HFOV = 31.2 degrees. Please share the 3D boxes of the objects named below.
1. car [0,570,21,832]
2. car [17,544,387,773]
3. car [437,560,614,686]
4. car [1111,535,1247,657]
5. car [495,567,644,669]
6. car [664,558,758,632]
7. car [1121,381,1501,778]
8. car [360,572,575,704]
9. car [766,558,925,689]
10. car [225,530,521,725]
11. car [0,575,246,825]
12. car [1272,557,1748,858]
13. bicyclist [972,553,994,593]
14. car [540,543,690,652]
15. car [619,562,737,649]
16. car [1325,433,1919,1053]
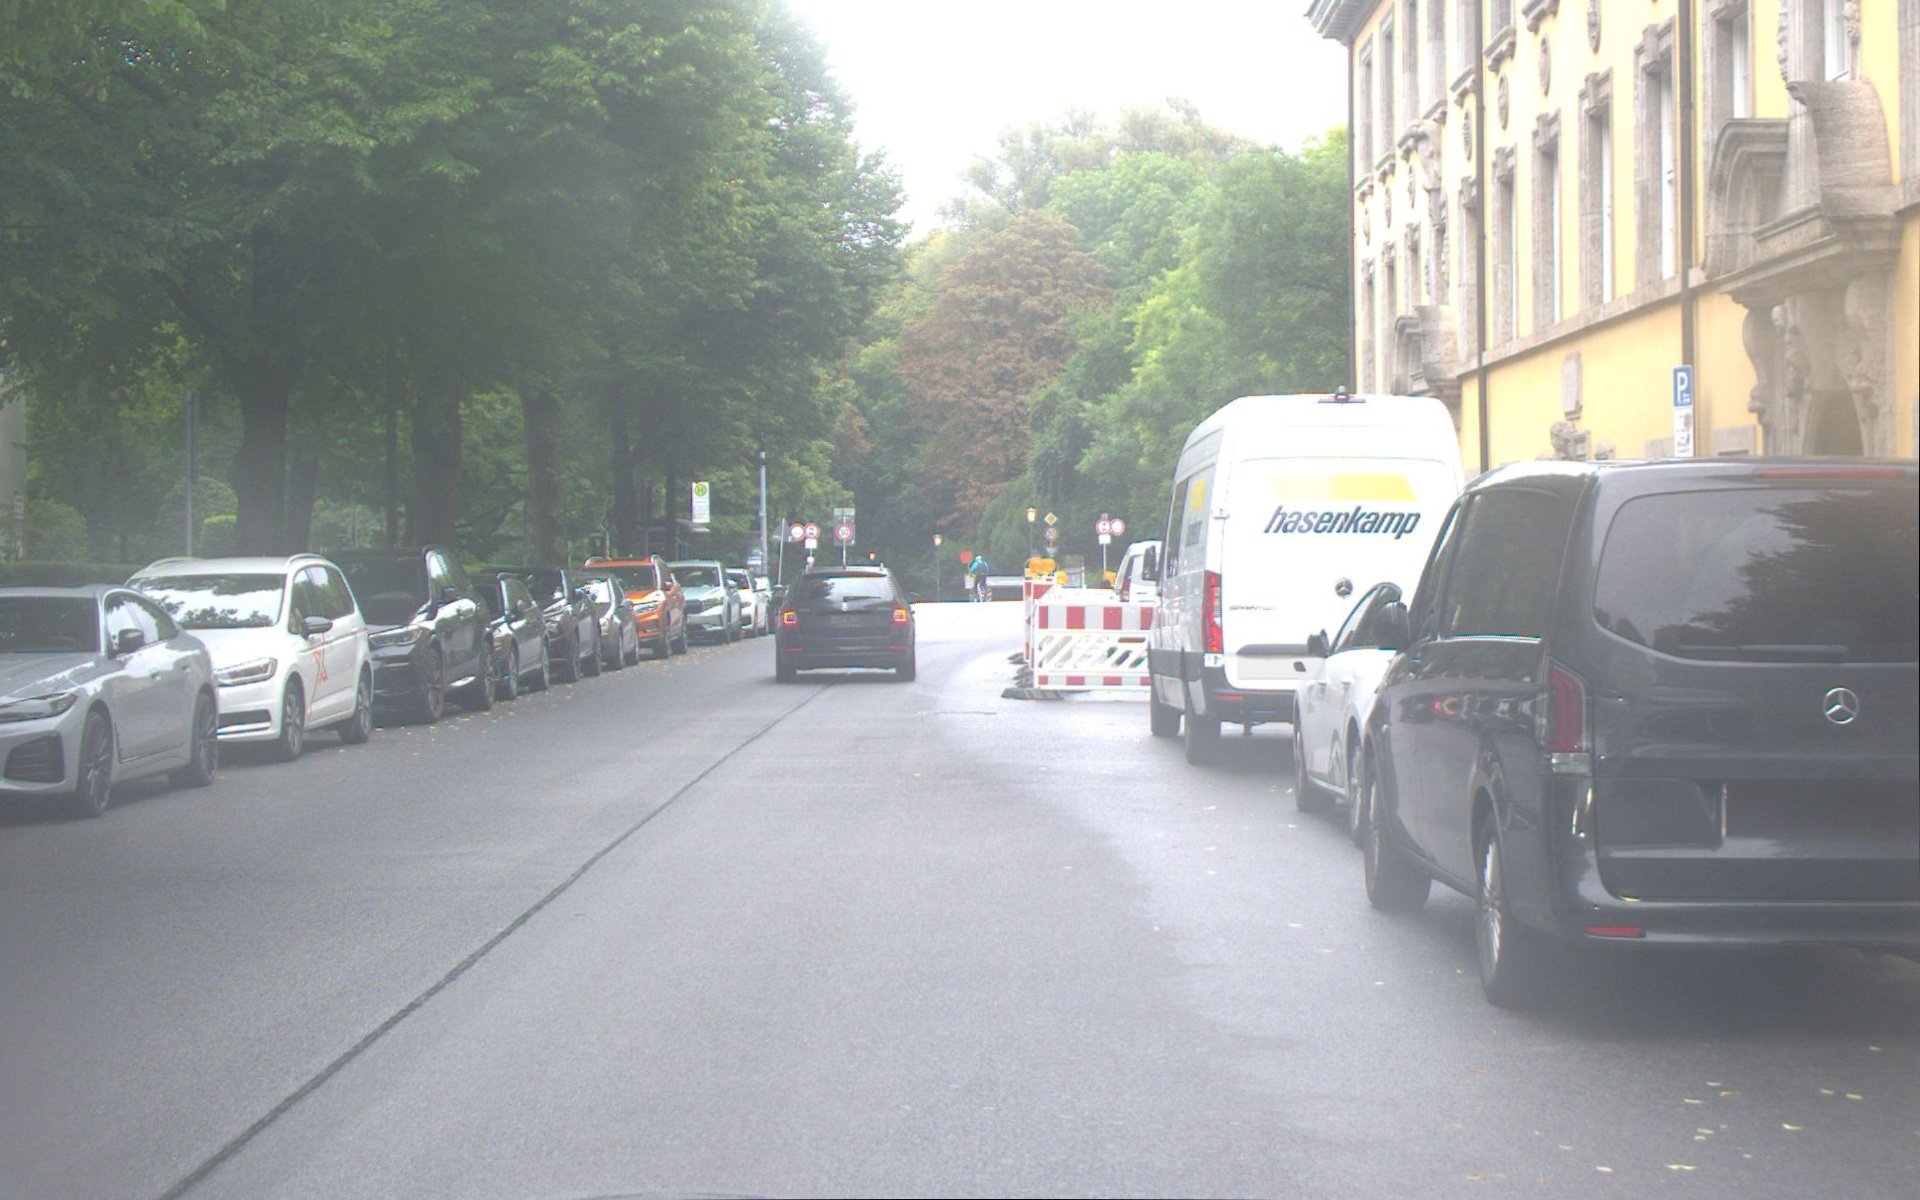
[{"bbox_3d":[-6.191,0.591,17.628,1.672,1.464,4.104,-1,0,-1],"label":"car"},{"bbox_3d":[-6.048,0.419,27.973,1.765,1.616,4.522,-3,0,2],"label":"car"},{"bbox_3d":[-5.789,0.269,46.248,1.786,1.569,4.486,-1,1,0],"label":"car"},{"bbox_3d":[3.265,-0.053,51.971,1.739,1.744,4.356,-1,0,0],"label":"car"},{"bbox_3d":[-5.859,0.239,52.002,1.727,1.418,4.251,-1,1,0],"label":"car"},{"bbox_3d":[-5.175,-0.119,71.971,1.577,1.492,4.199,-1,1,1],"label":"car"},{"bbox_3d":[2.557,-0.165,27.128,2.054,2.664,7.614,-1,0,-1],"label":"car"},{"bbox_3d":[-5.782,0.408,40.853,1.719,1.446,4.695,-1,1,2],"label":"car"},{"bbox_3d":[-1.415,0.269,43.857,1.577,1.578,4.043,-1,1,4],"label":"car"},{"bbox_3d":[-5.928,0.237,35.322,1.993,1.791,4.920,-2,0,2],"label":"car"},{"bbox_3d":[-6.166,0.579,22.689,1.809,1.464,4.997,-1,0,1],"label":"car"},{"bbox_3d":[2.901,0.513,19.047,1.870,1.453,4.255,-1,0,-1],"label":"car"},{"bbox_3d":[0.865,-1.025,129.198,0.680,1.499,0.901,-1,1,-7],"label":"bicyclist"},{"bbox_3d":[-5.740,-0.062,57.755,1.873,1.722,4.641,-1,1,2],"label":"car"},{"bbox_3d":[-5.406,0.081,66.327,1.815,1.596,4.513,-1,1,1],"label":"car"},{"bbox_3d":[2.628,0.410,12.922,1.870,1.862,4.987,-1,0,-1],"label":"car"}]
